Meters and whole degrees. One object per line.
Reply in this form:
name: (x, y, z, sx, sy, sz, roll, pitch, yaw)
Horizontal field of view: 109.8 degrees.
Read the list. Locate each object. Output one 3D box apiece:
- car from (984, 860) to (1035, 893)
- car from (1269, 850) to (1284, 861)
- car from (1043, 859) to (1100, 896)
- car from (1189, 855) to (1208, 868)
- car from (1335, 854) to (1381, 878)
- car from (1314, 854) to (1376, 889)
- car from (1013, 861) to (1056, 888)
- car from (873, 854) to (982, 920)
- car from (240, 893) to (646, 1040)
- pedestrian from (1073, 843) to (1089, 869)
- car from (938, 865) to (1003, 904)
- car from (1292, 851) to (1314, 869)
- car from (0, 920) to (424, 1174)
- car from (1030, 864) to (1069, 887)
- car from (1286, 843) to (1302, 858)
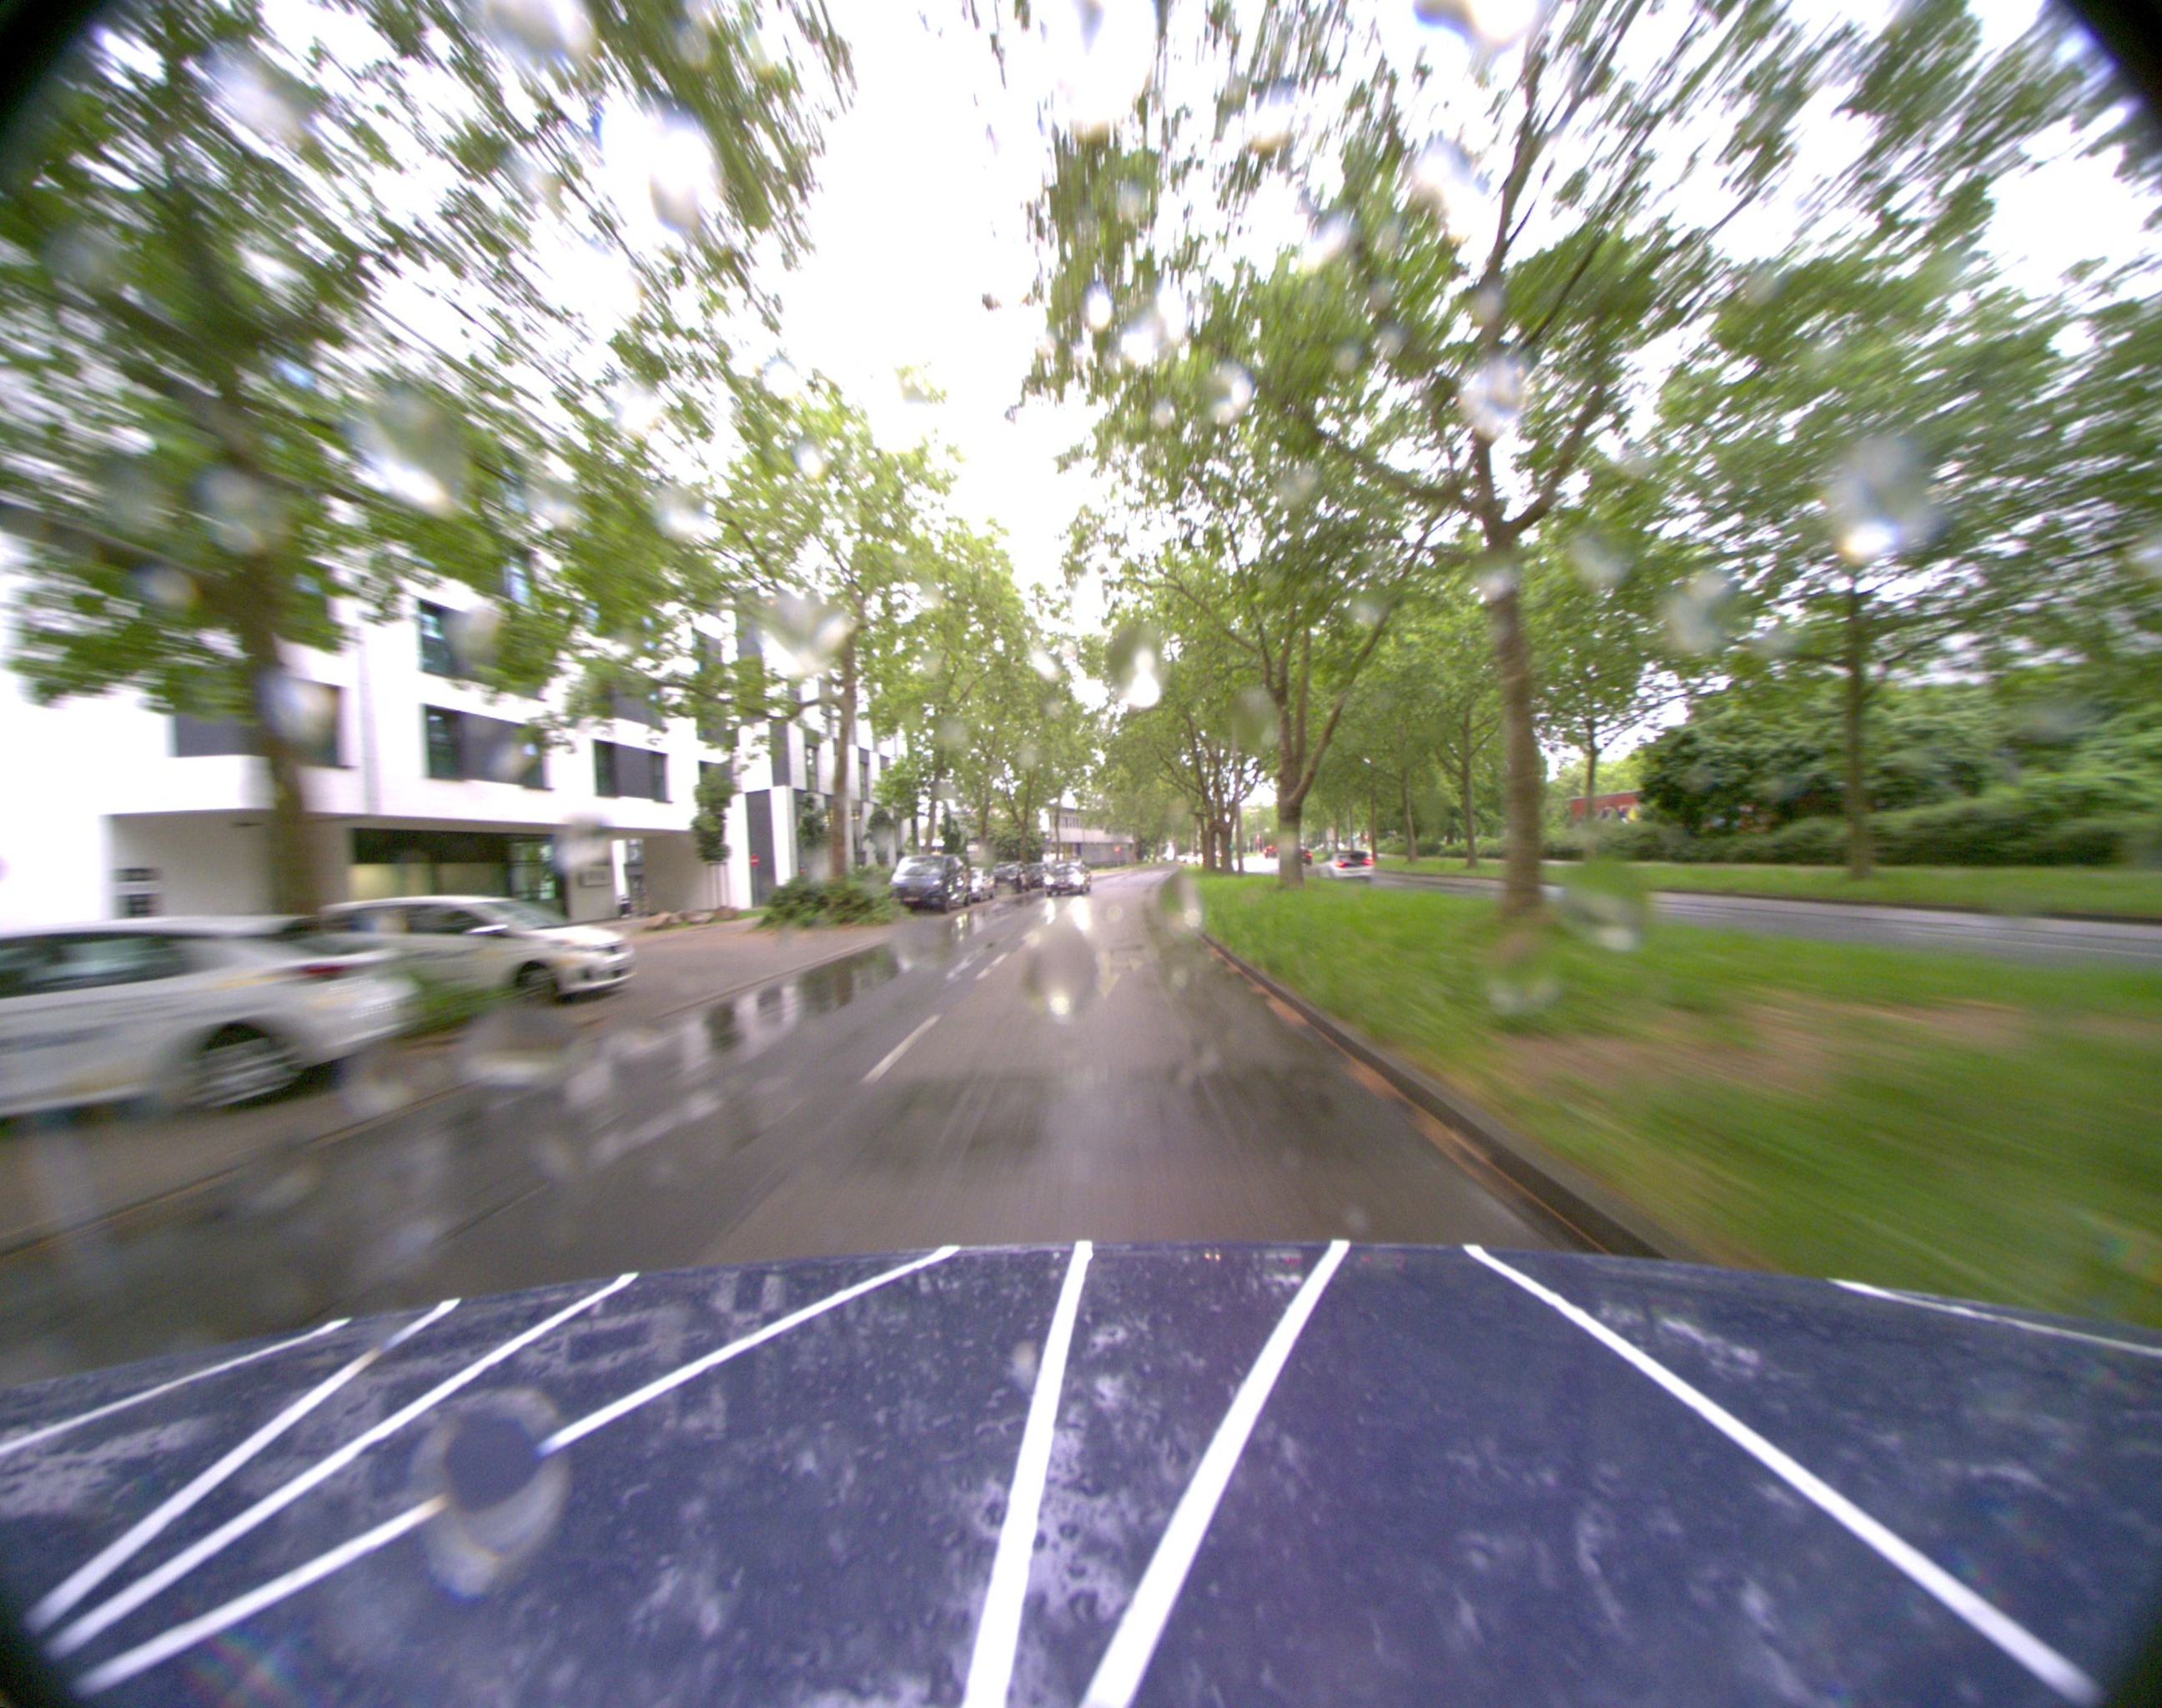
car: (-3.681, 1.139, 39.886, 1.747, 1.557, 4.373, -3, 0, 6)
car: (31.309, 0.223, 121.702, 2.032, 1.726, 4.960, -3, 0, 17)
car: (-0.364, 1.109, 38.417, 1.997, 1.585, 5.593, -3, 0, 8)
car: (16.045, 0.964, 103.265, 1.996, 1.620, 4.526, -3, 0, 15)
car: (17.733, 0.746, 48.804, 1.747, 1.450, 3.843, -3, 0, 5)
car: (12.540, 0.788, 36.339, 1.747, 1.467, 4.412, -3, 0, 5)
car: (-2.799, 1.215, 46.803, 1.746, 1.467, 4.085, -3, 0, 9)
car: (-5.275, 1.051, 27.028, 2.125, 2.016, 5.530, -3, 0, 6)
car: (-8.051, 1.357, 9.987, 3.648, 1.495, 1.747, -2, -1, -13)
pedestrian: (-0.035, 0.156, 60.526, 0.901, 2.002, 0.831, -3, 0, -27)
car: (-4.764, 1.270, 33.307, 1.747, 1.460, 4.308, -3, 0, 6)
car: (21.487, 0.584, 73.498, 1.745, 1.552, 4.374, -3, 0, 20)
car: (-7.678, 1.389, 5.538, 4.044, 1.420, 1.745, -2, 0, -29)
car: (-2.128, 1.473, 52.941, 1.747, 1.420, 5.107, -3, 0, 8)
car: (32.488, -0.555, 115.988, 2.033, 2.213, 5.439, -3, 0, 12)
